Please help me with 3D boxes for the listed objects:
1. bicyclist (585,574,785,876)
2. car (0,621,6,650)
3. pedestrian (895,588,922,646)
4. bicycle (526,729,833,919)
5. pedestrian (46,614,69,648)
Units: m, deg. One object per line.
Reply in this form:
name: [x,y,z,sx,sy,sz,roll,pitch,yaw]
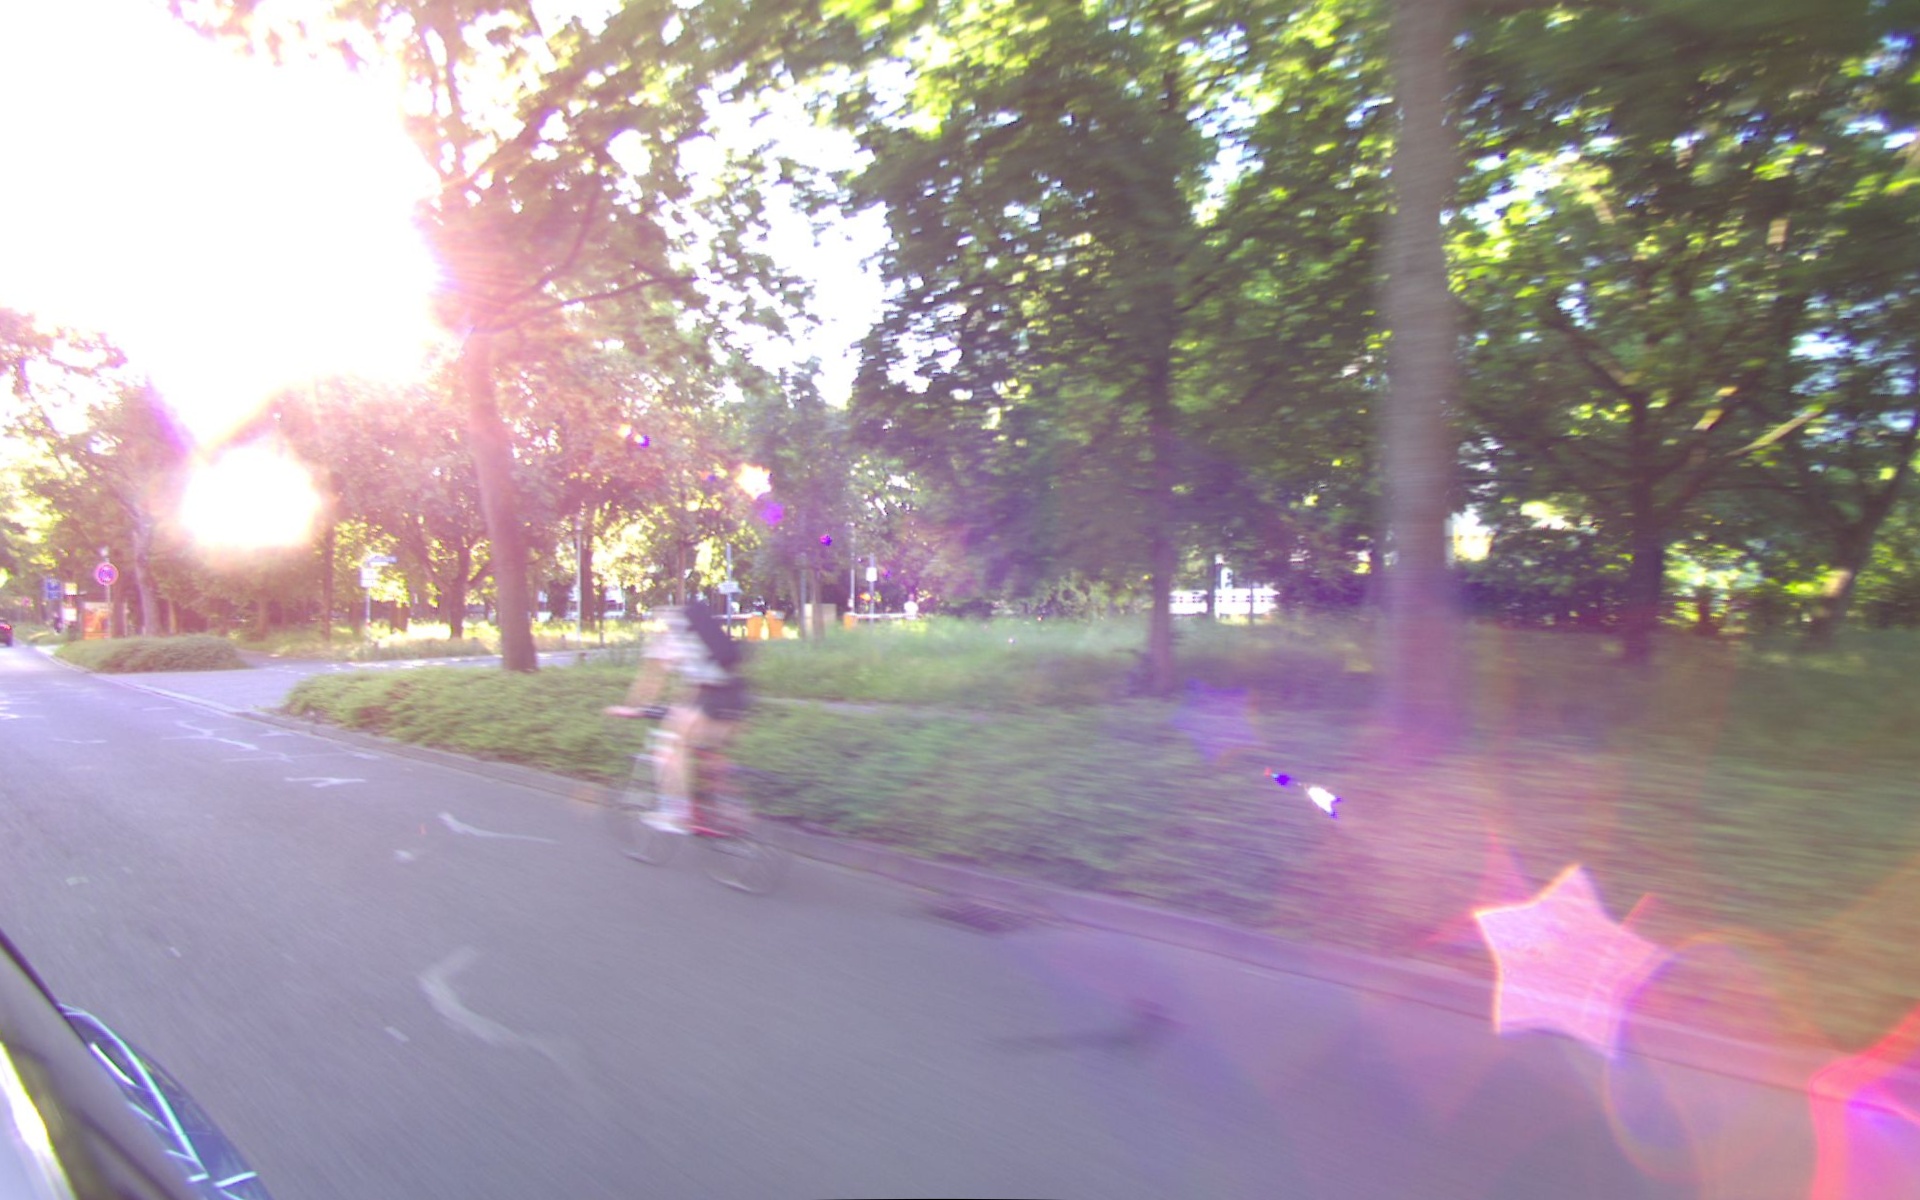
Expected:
bicyclist: [-1.594,0.665,5.841,1.001,1.567,0.626,-1,-3,40]
car: [-53.581,1.920,55.428,1.822,1.591,4.340,3,-3,-43]
pedestrian: [-1.857,0.607,36.256,0.748,2.029,0.590,0,0,-45]
bicycle: [-1.702,1.218,5.906,2.124,0.747,0.632,-1,-3,40]
pedestrian: [-48.845,1.670,54.783,0.720,1.835,0.893,-2,-1,43]
